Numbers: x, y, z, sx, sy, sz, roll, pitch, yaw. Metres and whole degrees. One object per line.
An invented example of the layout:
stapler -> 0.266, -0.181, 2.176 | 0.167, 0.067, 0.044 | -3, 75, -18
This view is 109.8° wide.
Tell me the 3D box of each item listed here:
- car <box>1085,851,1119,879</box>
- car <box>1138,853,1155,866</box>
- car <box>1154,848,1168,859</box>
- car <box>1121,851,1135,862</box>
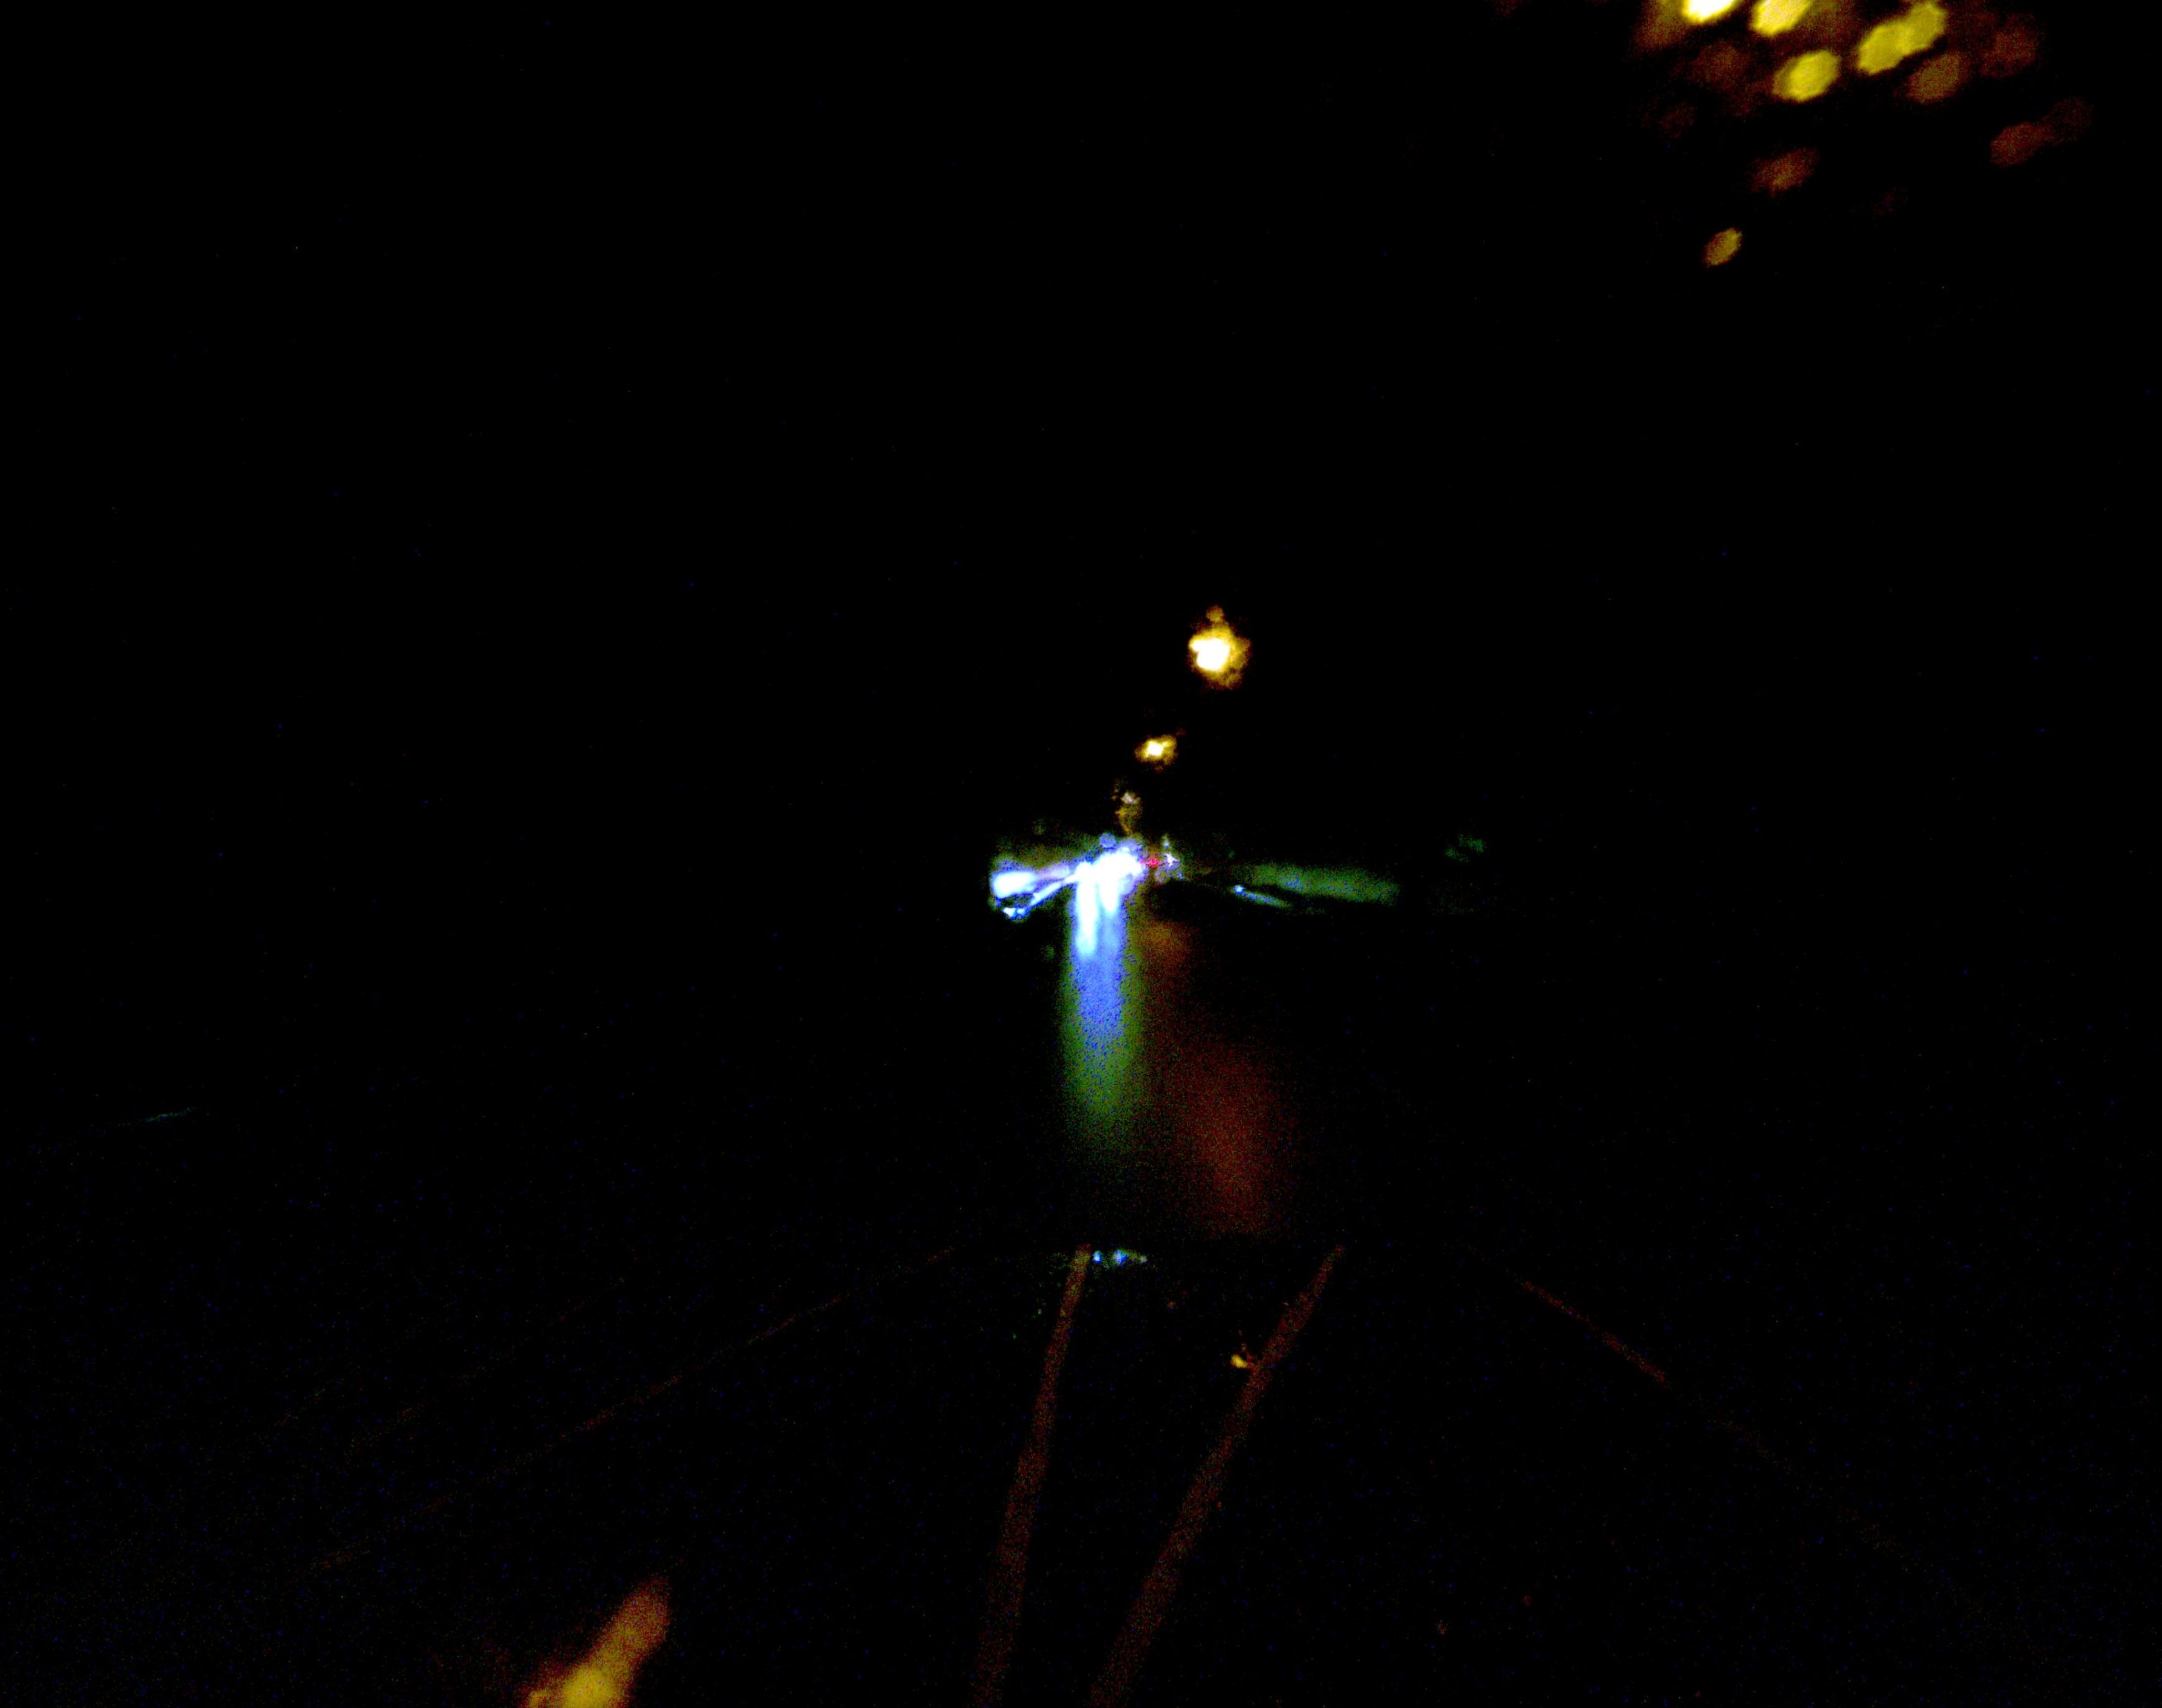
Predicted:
car -> 1.311, 0.670, 48.226 | 1.998, 1.576, 4.000 | -2, 1, 1
car -> 8.766, 0.710, 101.936 | 1.998, 1.576, 4.000 | -2, 1, 4
car -> 12.781, -0.136, 121.315 | 1.998, 1.576, 4.000 | -2, 1, 4
car -> 7.166, 0.345, 115.896 | 1.998, 1.576, 4.000 | -3, 0, 1
